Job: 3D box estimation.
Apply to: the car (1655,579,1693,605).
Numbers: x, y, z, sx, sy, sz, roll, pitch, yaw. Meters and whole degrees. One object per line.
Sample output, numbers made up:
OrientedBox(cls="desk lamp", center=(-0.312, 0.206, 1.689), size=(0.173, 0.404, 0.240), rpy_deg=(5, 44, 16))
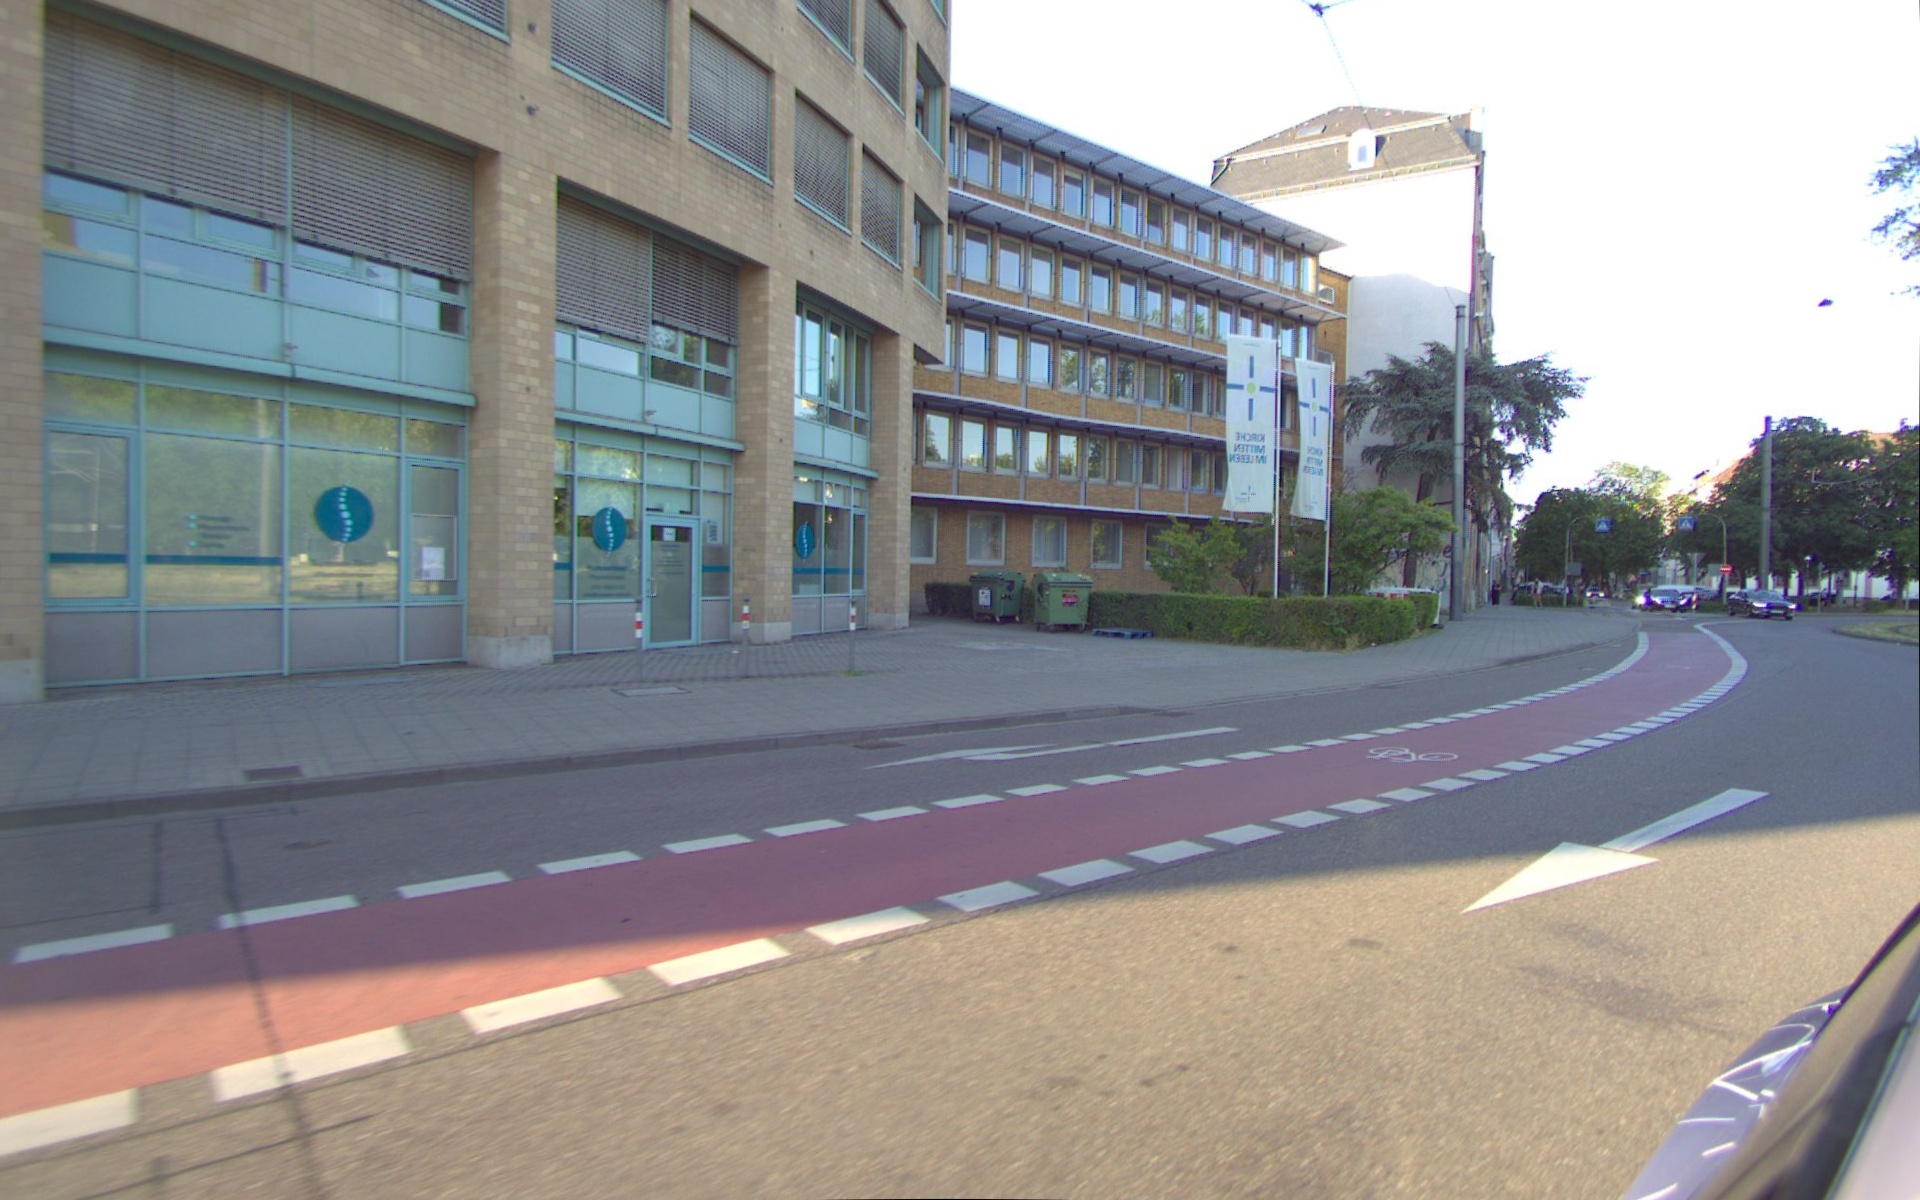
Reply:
OrientedBox(cls="car", center=(44.155, -0.484, 62.567), size=(1.810, 1.501, 4.082), rpy_deg=(3, 1, 36))

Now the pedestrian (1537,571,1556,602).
OrientedBox(cls="pedestrian", center=(35.845, -0.829, 61.876), size=(0.804, 1.814, 0.593), rpy_deg=(2, 1, -28))

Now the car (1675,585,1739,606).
OrientedBox(cls="car", center=(63.229, -0.408, 85.710), size=(1.967, 1.571, 4.058), rpy_deg=(1, 1, -44))

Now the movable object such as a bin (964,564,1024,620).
OrientedBox(cls="movable object such as a bin", center=(0.913, -0.217, 27.290), size=(1.341, 1.442, 0.909), rpy_deg=(3, 1, 45))

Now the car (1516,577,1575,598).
OrientedBox(cls="car", center=(47.229, -1.021, 81.684), size=(4.039, 1.589, 1.816), rpy_deg=(3, 1, 33))

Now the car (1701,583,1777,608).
OrientedBox(cls="car", center=(55.518, -0.320, 72.191), size=(1.835, 1.576, 4.058), rpy_deg=(1, 1, -44))

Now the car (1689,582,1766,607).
OrientedBox(cls="car", center=(53.316, -0.375, 70.342), size=(1.835, 1.576, 4.058), rpy_deg=(1, 1, -44))

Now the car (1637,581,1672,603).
OrientedBox(cls="car", center=(50.429, -0.587, 73.547), size=(1.807, 1.501, 4.088), rpy_deg=(3, 1, 32))

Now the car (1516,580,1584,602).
OrientedBox(cls="car", center=(44.972, -0.693, 77.161), size=(4.365, 1.577, 1.817), rpy_deg=(3, 1, 32))

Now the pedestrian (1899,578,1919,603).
OrientedBox(cls="pedestrian", center=(67.731, -0.663, 72.178), size=(0.769, 1.737, 0.771), rpy_deg=(2, 1, -20))

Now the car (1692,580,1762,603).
OrientedBox(cls="car", center=(60.080, -0.695, 79.308), size=(1.967, 1.638, 4.058), rpy_deg=(1, 1, -44))

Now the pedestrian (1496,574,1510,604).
OrientedBox(cls="pedestrian", center=(31.141, -0.620, 58.014), size=(0.573, 1.730, 0.713), rpy_deg=(2, 1, 33))

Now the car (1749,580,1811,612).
OrientedBox(cls="car", center=(41.202, -0.209, 50.956), size=(1.807, 1.501, 4.090), rpy_deg=(2, 1, 31))

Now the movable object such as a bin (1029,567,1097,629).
OrientedBox(cls="movable object such as a bin", center=(2.495, -0.062, 24.655), size=(1.316, 1.455, 0.976), rpy_deg=(2, 1, -19))

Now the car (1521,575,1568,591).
OrientedBox(cls="car", center=(63.248, -1.845, 109.576), size=(4.361, 1.633, 1.711), rpy_deg=(3, 1, 29))

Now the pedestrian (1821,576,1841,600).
OrientedBox(cls="pedestrian", center=(77.171, -1.047, 89.654), size=(0.988, 2.039, 0.831), rpy_deg=(2, 1, -9))

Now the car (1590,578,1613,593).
OrientedBox(cls="car", center=(72.341, -1.632, 114.109), size=(1.811, 1.501, 4.080), rpy_deg=(2, 1, 37))

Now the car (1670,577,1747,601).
OrientedBox(cls="car", center=(66.305, -0.961, 89.762), size=(2.082, 1.926, 5.082), rpy_deg=(1, 1, -37))

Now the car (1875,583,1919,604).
OrientedBox(cls="car", center=(83.106, -0.563, 88.804), size=(1.671, 1.746, 4.010), rpy_deg=(1, 1, -40))

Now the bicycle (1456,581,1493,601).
OrientedBox(cls="bicycle", center=(29.536, -0.539, 58.104), size=(1.840, 1.086, 0.425), rpy_deg=(3, 1, 29))
